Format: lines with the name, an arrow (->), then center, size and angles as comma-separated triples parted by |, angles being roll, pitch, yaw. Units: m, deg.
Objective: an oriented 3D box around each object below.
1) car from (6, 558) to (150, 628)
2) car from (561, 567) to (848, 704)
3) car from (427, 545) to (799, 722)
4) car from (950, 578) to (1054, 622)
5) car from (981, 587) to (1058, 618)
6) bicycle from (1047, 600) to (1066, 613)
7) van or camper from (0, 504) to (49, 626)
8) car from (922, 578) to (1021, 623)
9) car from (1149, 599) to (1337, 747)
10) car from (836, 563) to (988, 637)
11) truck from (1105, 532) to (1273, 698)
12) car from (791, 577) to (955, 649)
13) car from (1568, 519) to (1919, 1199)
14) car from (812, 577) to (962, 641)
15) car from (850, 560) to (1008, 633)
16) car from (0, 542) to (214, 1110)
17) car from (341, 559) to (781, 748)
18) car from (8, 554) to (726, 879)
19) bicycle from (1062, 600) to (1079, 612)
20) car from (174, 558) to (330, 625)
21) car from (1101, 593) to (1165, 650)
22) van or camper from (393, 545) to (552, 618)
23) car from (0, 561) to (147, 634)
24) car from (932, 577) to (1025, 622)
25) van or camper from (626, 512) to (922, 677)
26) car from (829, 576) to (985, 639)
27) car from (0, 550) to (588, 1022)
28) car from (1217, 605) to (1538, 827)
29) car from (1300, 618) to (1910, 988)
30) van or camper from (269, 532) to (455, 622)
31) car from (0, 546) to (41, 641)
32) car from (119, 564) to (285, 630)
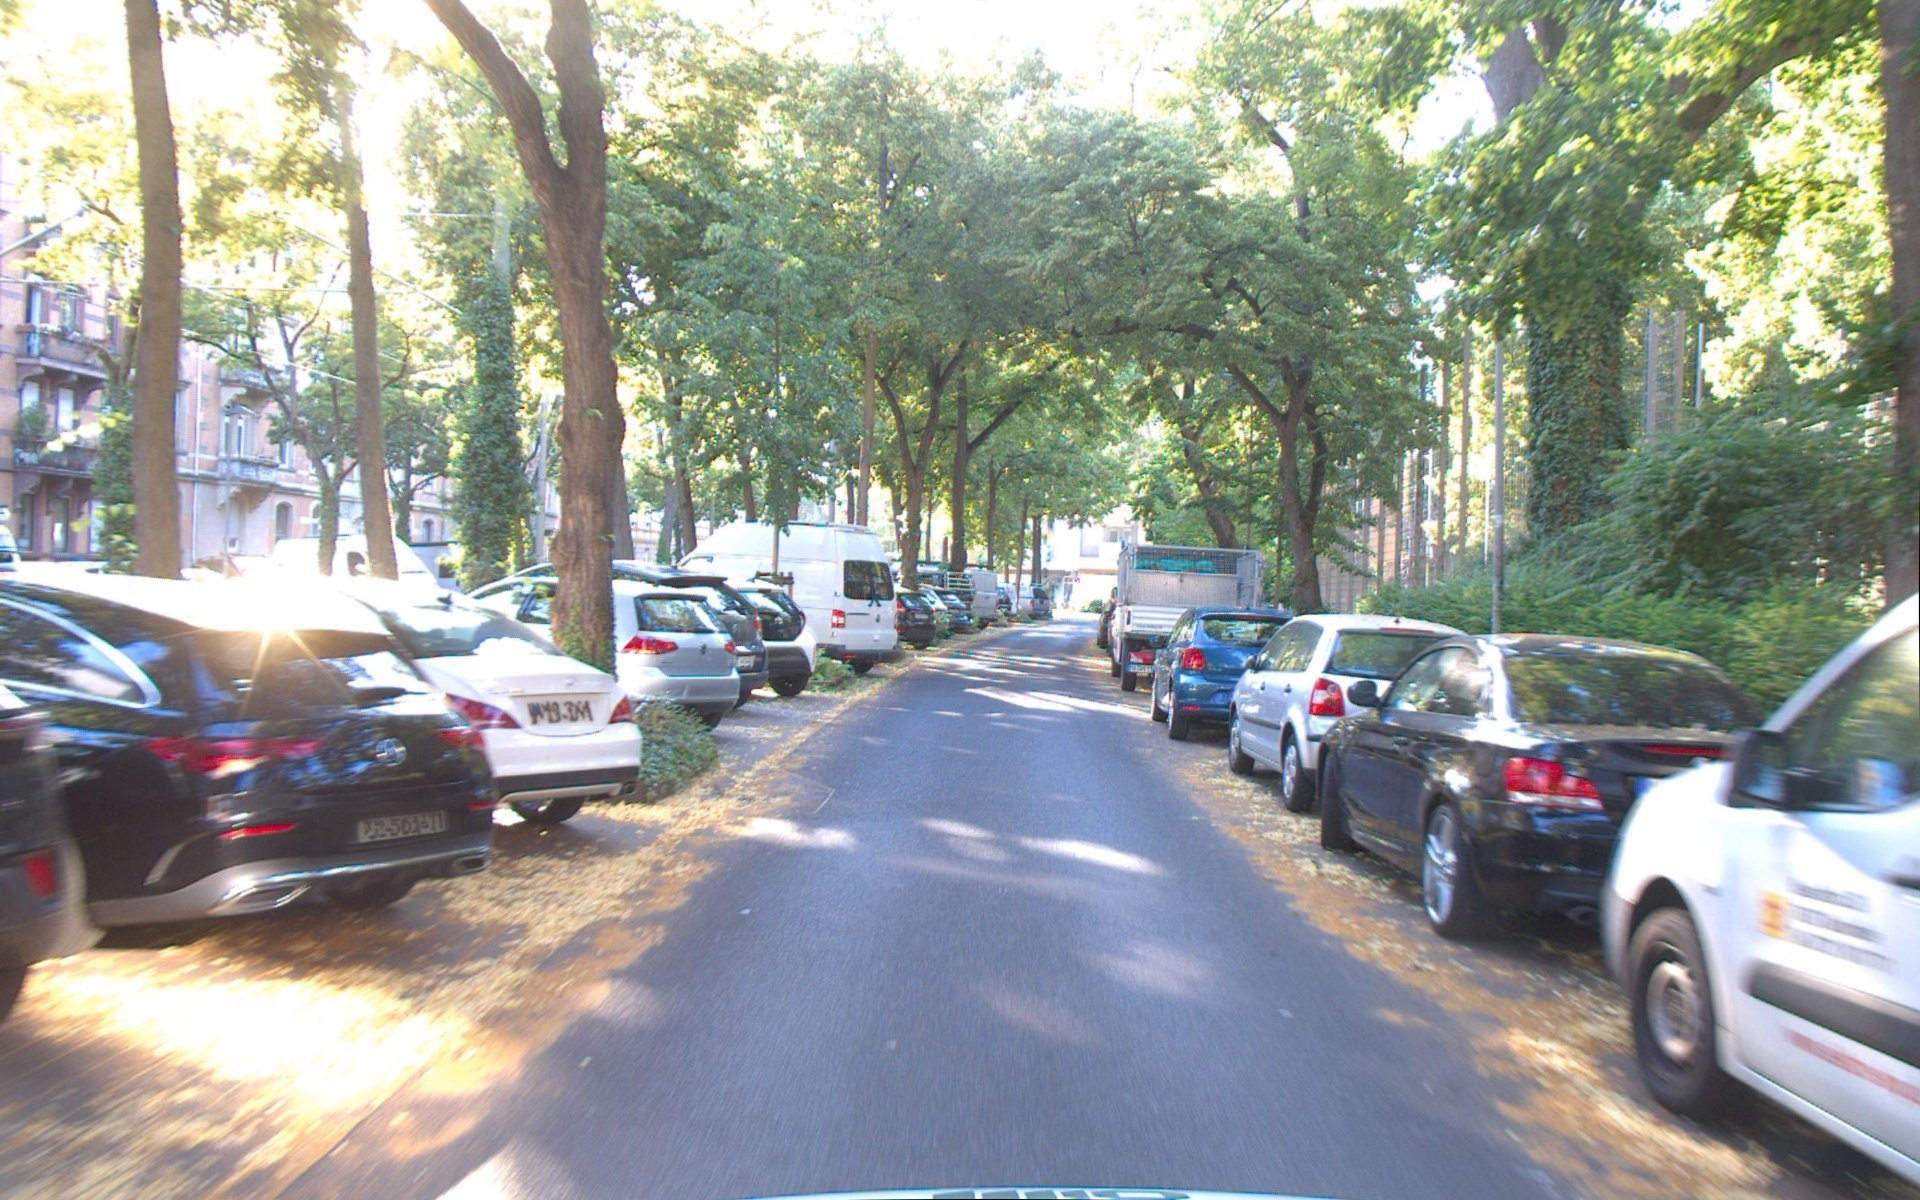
car -> -25.543, -0.230, 48.048 | 1.812, 1.813, 3.919 | 4, 1, 4
car -> -3.484, 0.456, 22.412 | 3.479, 1.519, 1.819 | 5, 0, 34
car -> -4.110, 0.351, 19.545 | 3.951, 1.691, 1.854 | 5, 0, 28
car -> 2.099, 0.012, 83.249 | 4.901, 1.812, 1.981 | 5, 0, 34
car -> 3.531, 0.155, 97.969 | 4.112, 1.463, 1.827 | 5, 0, 31
bicycle -> 7.702, 0.513, 132.485 | 0.630, 1.040, 2.073 | 1, 0, -24
van or camper -> -25.991, -0.927, 42.276 | 2.031, 3.163, 5.517 | 1, 0, 4
car -> 0.503, 0.008, 74.158 | 4.082, 1.672, 1.906 | 5, 1, 38
car -> 3.180, 0.756, 19.235 | 1.637, 1.484, 3.895 | 2, 0, 2
car -> -1.570, -0.017, 52.991 | 4.626, 1.976, 1.925 | 5, 1, 39
truck -> 3.736, 0.203, 28.303 | 2.247, 2.428, 6.937 | 2, 0, 3
car -> -2.169, 0.319, 40.816 | 3.755, 1.463, 1.816 | 5, 1, 40
car -> 3.122, 0.701, 3.814 | 1.750, 1.737, 4.376 | 2, 0, -1
car -> -2.118, 0.239, 47.577 | 4.014, 1.513, 1.776 | 5, 1, 37
car -> -1.147, -0.136, 59.332 | 5.405, 2.174, 2.073 | 5, 1, 36
car -> -4.520, 0.501, 5.054 | 3.909, 1.538, 1.958 | 4, 1, 25
car -> -4.072, 0.484, 16.733 | 4.154, 1.465, 1.853 | 5, 0, 31
car -> -3.800, 0.581, 10.399 | 4.371, 1.428, 1.853 | 5, 1, 31
bicycle -> 8.702, 0.479, 130.706 | 0.536, 0.920, 1.720 | 1, 0, -28
car -> -18.115, -0.222, 42.270 | 4.241, 1.610, 1.898 | 0, 0, 38
car -> 4.787, 0.558, 46.232 | 1.637, 1.479, 3.951 | 2, 0, 4
van or camper -> -16.807, -0.640, 56.962 | 5.435, 2.412, 2.301 | 0, 0, 33
car -> -18.420, -0.060, 33.504 | 3.917, 1.405, 1.798 | 0, 0, 34
car -> 0.856, -0.036, 77.364 | 4.088, 1.812, 1.872 | 5, 1, 42
van or camper -> -3.276, -0.123, 28.820 | 4.784, 2.513, 2.040 | 4, 0, 32
car -> -1.636, 0.214, 50.222 | 4.486, 1.567, 1.925 | 5, 1, 39
car -> -3.900, 0.572, 7.330 | 4.219, 1.428, 1.742 | 4, 1, 28
car -> 3.231, 0.819, 13.538 | 1.638, 1.484, 3.893 | 2, 0, 0
car -> 3.101, 0.860, 8.961 | 1.638, 1.415, 4.266 | 2, 0, 0
van or camper -> -17.423, -0.659, 48.095 | 5.553, 2.511, 1.996 | 0, 0, 30
car -> -18.713, -0.127, 30.424 | 3.921, 1.676, 1.731 | 0, 0, 37
car -> -18.323, -0.049, 39.906 | 4.240, 1.409, 1.898 | -2, -1, 38
